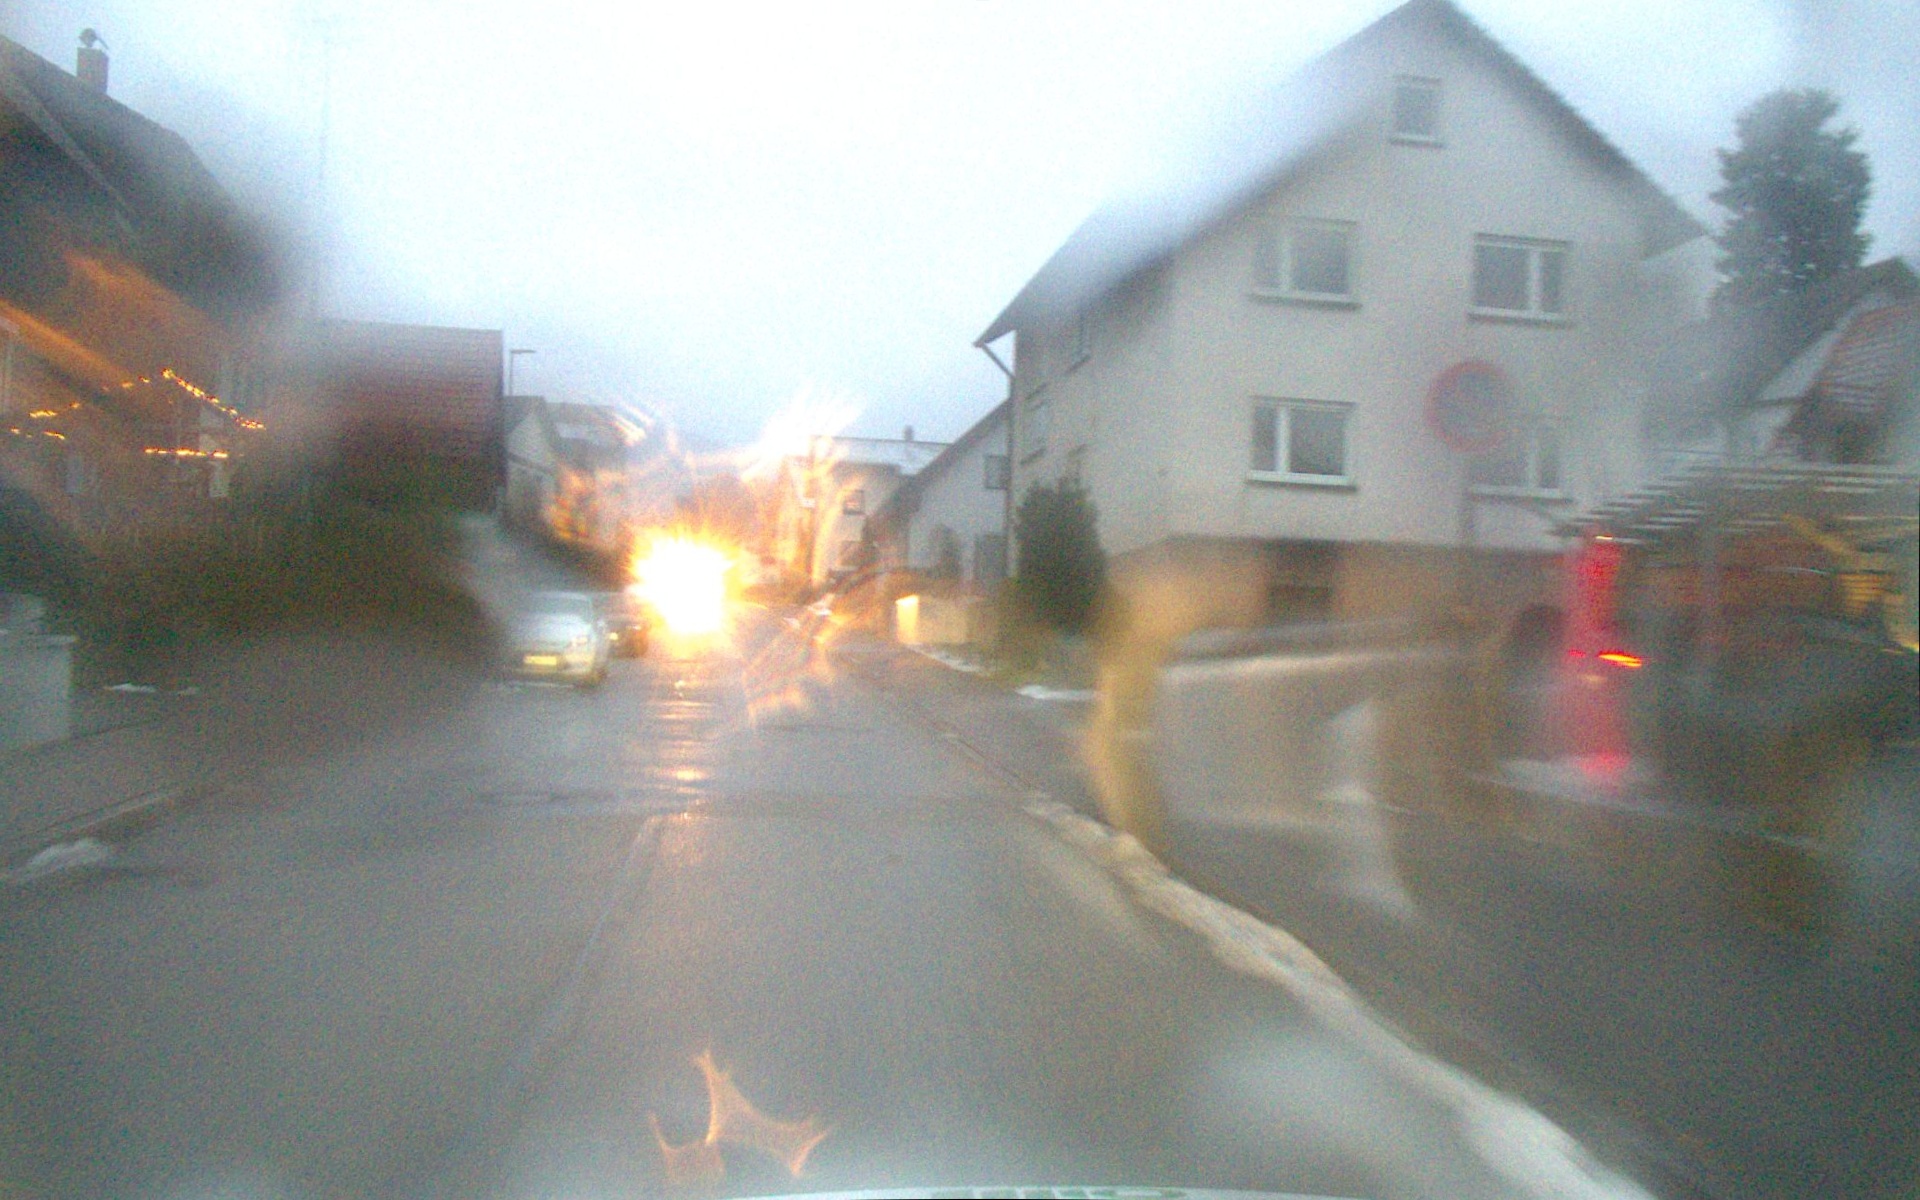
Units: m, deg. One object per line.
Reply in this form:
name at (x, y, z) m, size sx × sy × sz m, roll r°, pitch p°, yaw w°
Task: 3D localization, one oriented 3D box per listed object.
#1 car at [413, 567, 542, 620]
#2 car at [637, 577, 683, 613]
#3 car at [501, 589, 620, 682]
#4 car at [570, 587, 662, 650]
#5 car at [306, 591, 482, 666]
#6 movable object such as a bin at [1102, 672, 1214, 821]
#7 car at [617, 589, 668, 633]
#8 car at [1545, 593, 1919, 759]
car at (-16.590, -0.228, 57.053) m, size 3.909 × 1.646 × 1.887 m, roll 2°, pitch 0°, yaw -5°
car at (-13.493, -0.249, 74.588) m, size 1.760 × 1.530 × 4.303 m, roll 0°, pitch 1°, yaw -7°
car at (-6.638, 0.557, 27.748) m, size 1.588 × 1.463 × 3.649 m, roll 0°, pitch 0°, yaw -8°
car at (-8.187, 0.413, 39.721) m, size 1.842 × 1.419 × 5.065 m, roll 0°, pitch 0°, yaw -8°
car at (-12.815, 0.621, 37.605) m, size 3.396 × 1.555 × 1.772 m, roll 2°, pitch 0°, yaw -5°
movable object such as a bin at (1.331, 0.978, 11.225) m, size 0.624 × 0.933 × 0.685 m, roll 2°, pitch 0°, yaw -3°
car at (-11.906, 0.392, 62.193) m, size 1.652 × 1.612 × 4.168 m, roll 0°, pitch 0°, yaw -8°
car at (8.870, 0.811, 18.476) m, size 3.907 × 1.646 × 1.999 m, roll 2°, pitch 0°, yaw -3°
